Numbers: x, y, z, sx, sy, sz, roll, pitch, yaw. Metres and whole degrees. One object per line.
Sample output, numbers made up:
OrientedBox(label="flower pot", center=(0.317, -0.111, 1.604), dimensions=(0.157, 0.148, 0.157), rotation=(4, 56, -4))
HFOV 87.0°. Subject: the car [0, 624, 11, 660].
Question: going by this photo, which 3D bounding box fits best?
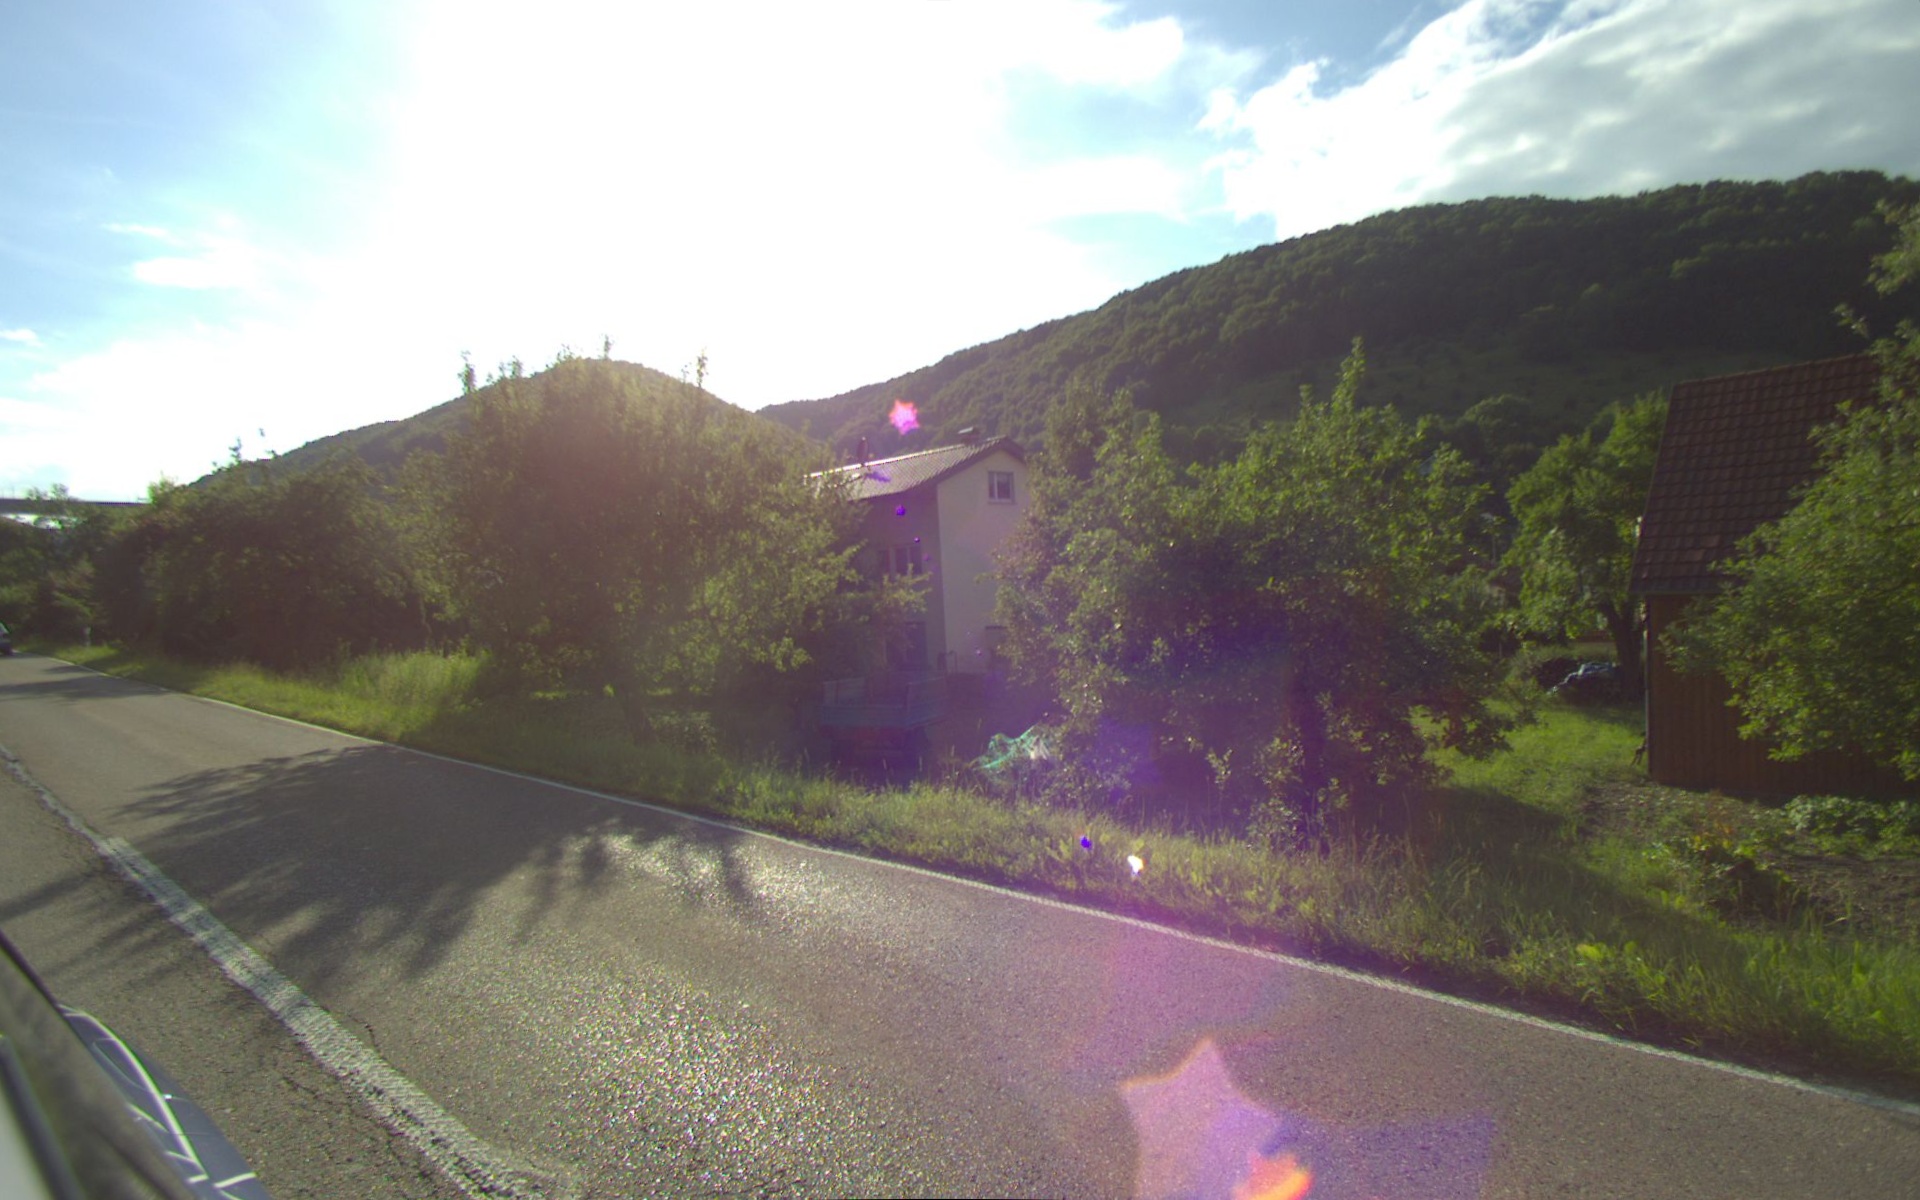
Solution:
OrientedBox(label="car", center=(-40.191, 1.717, 41.456), dimensions=(3.663, 1.420, 1.673), rotation=(-1, -1, 43))
